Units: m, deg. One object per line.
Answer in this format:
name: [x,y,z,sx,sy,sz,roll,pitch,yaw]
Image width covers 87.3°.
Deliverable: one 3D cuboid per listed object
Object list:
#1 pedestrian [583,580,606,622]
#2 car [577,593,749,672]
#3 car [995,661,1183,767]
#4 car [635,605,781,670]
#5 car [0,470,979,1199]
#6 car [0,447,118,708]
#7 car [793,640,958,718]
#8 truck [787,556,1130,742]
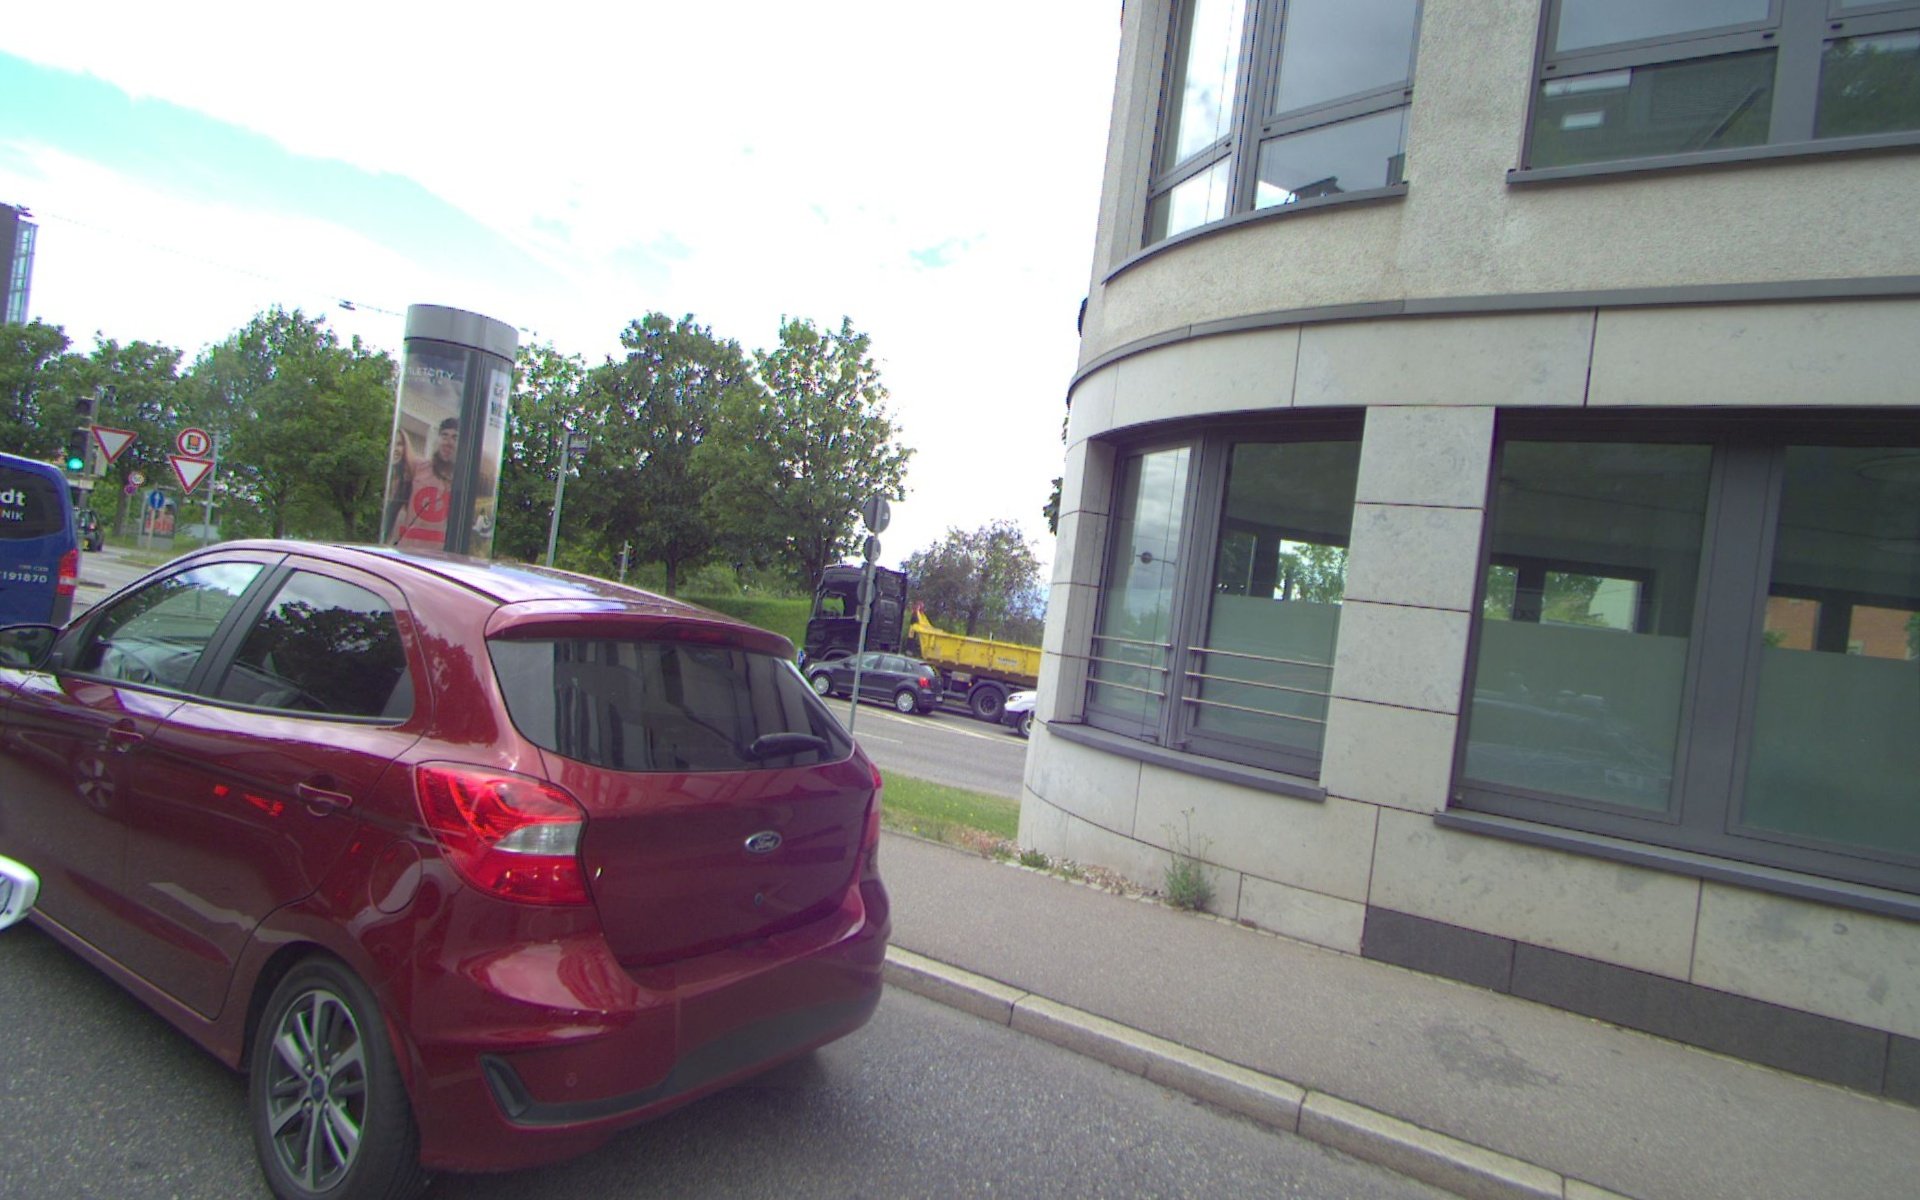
pedestrian: [-14.970,0.049,41.177,0.538,1.626,0.693,3,6,-43]
car: [-8.669,0.950,29.381,4.404,1.547,1.858,9,-2,19]
car: [3.235,2.784,24.996,4.206,1.817,1.758,8,-2,17]
car: [-8.242,1.242,32.962,4.081,1.458,1.992,8,-2,19]
car: [-2.024,0.508,3.543,3.656,1.498,1.749,7,-2,30]
car: [-9.119,-0.437,8.268,4.632,1.880,1.906,7,-2,33]
car: [-2.244,2.106,26.901,3.903,1.389,1.656,8,-2,19]
truck: [-0.061,1.360,29.733,9.280,3.969,2.832,8,-2,18]
